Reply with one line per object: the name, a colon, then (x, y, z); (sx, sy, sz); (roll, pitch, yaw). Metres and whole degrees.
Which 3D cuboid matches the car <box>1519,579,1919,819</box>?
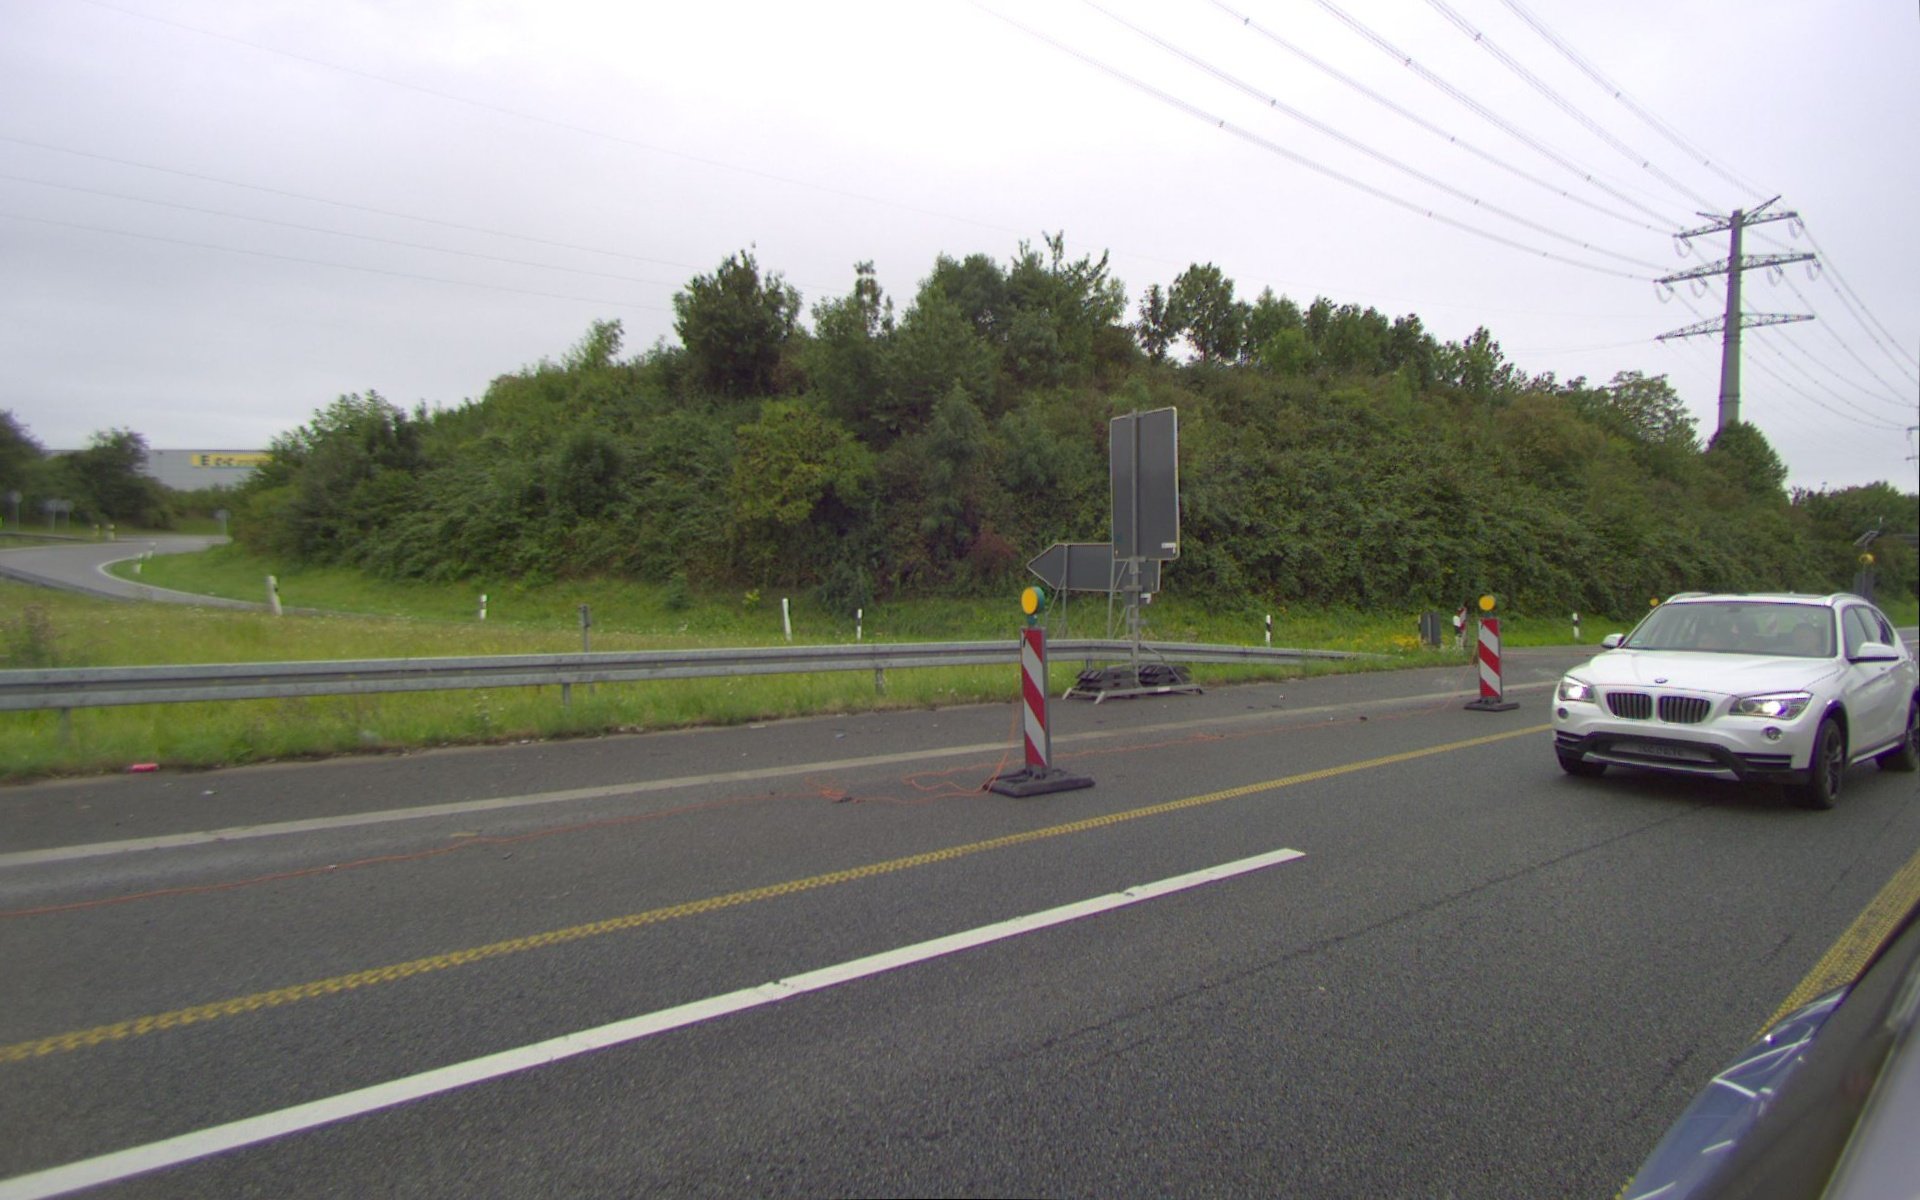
car: (6.688, 0.626, 8.562); (4.118, 1.554, 1.876); (0, 1, -36)
